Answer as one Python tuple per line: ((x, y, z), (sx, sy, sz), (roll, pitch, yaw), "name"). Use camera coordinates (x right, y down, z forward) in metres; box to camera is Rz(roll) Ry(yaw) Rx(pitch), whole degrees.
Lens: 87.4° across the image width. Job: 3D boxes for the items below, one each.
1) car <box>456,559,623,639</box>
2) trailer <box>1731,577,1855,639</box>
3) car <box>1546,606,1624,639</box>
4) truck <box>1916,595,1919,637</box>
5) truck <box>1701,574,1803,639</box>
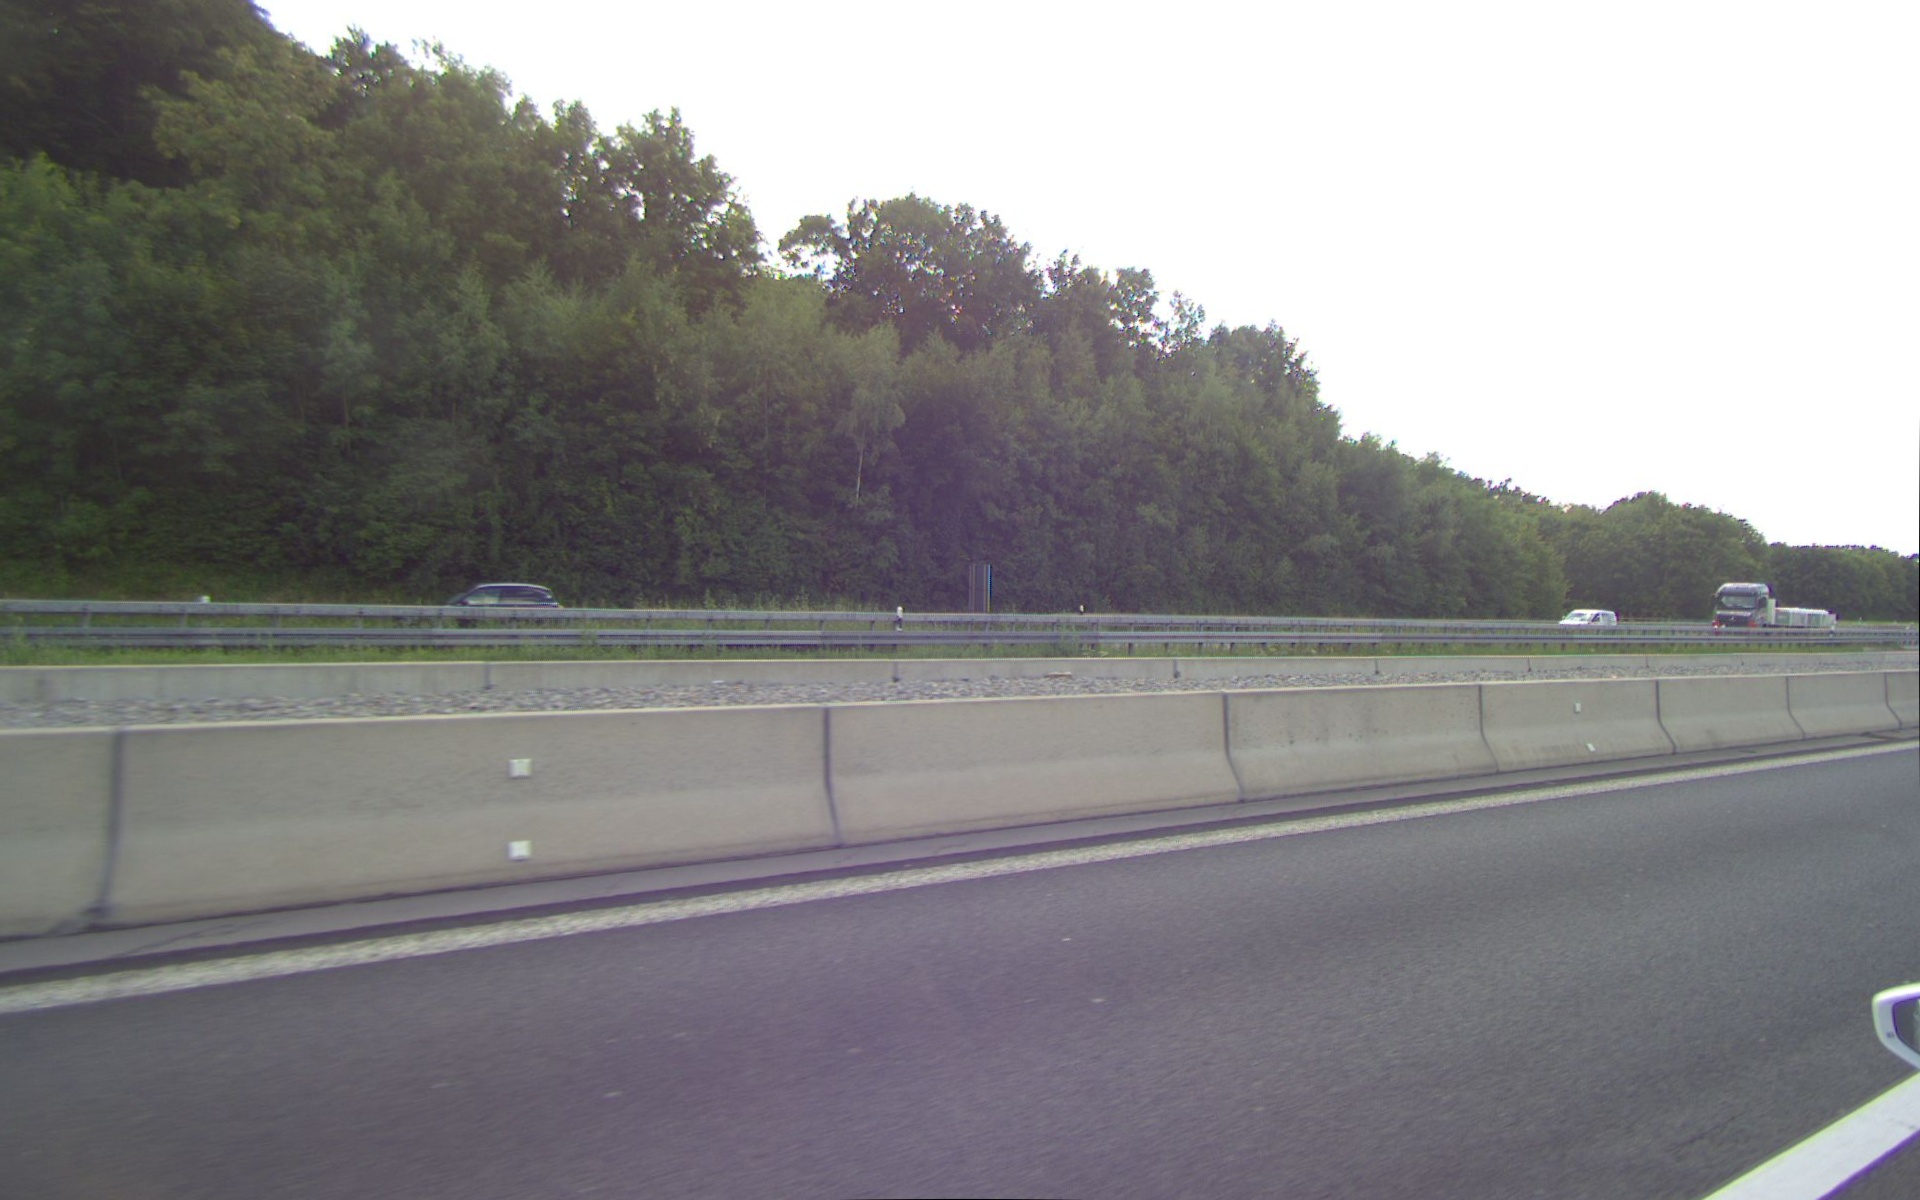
((-11.447, -0.003, 27.346), (3.953, 2.040, 1.984), (1, 0, -30), "car")
((56.126, 0.601, 67.515), (12.054, 3.858, 2.797), (2, 0, -33), "trailer")
((39.664, 1.448, 63.756), (5.200, 1.879, 1.984), (3, -1, -30), "car")
((103.503, 1.813, 105.580), (6.686, 4.349, 3.297), (2, 0, -37), "truck")
((50.372, 0.438, 63.862), (7.050, 3.878, 2.794), (1, 0, -32), "truck")
